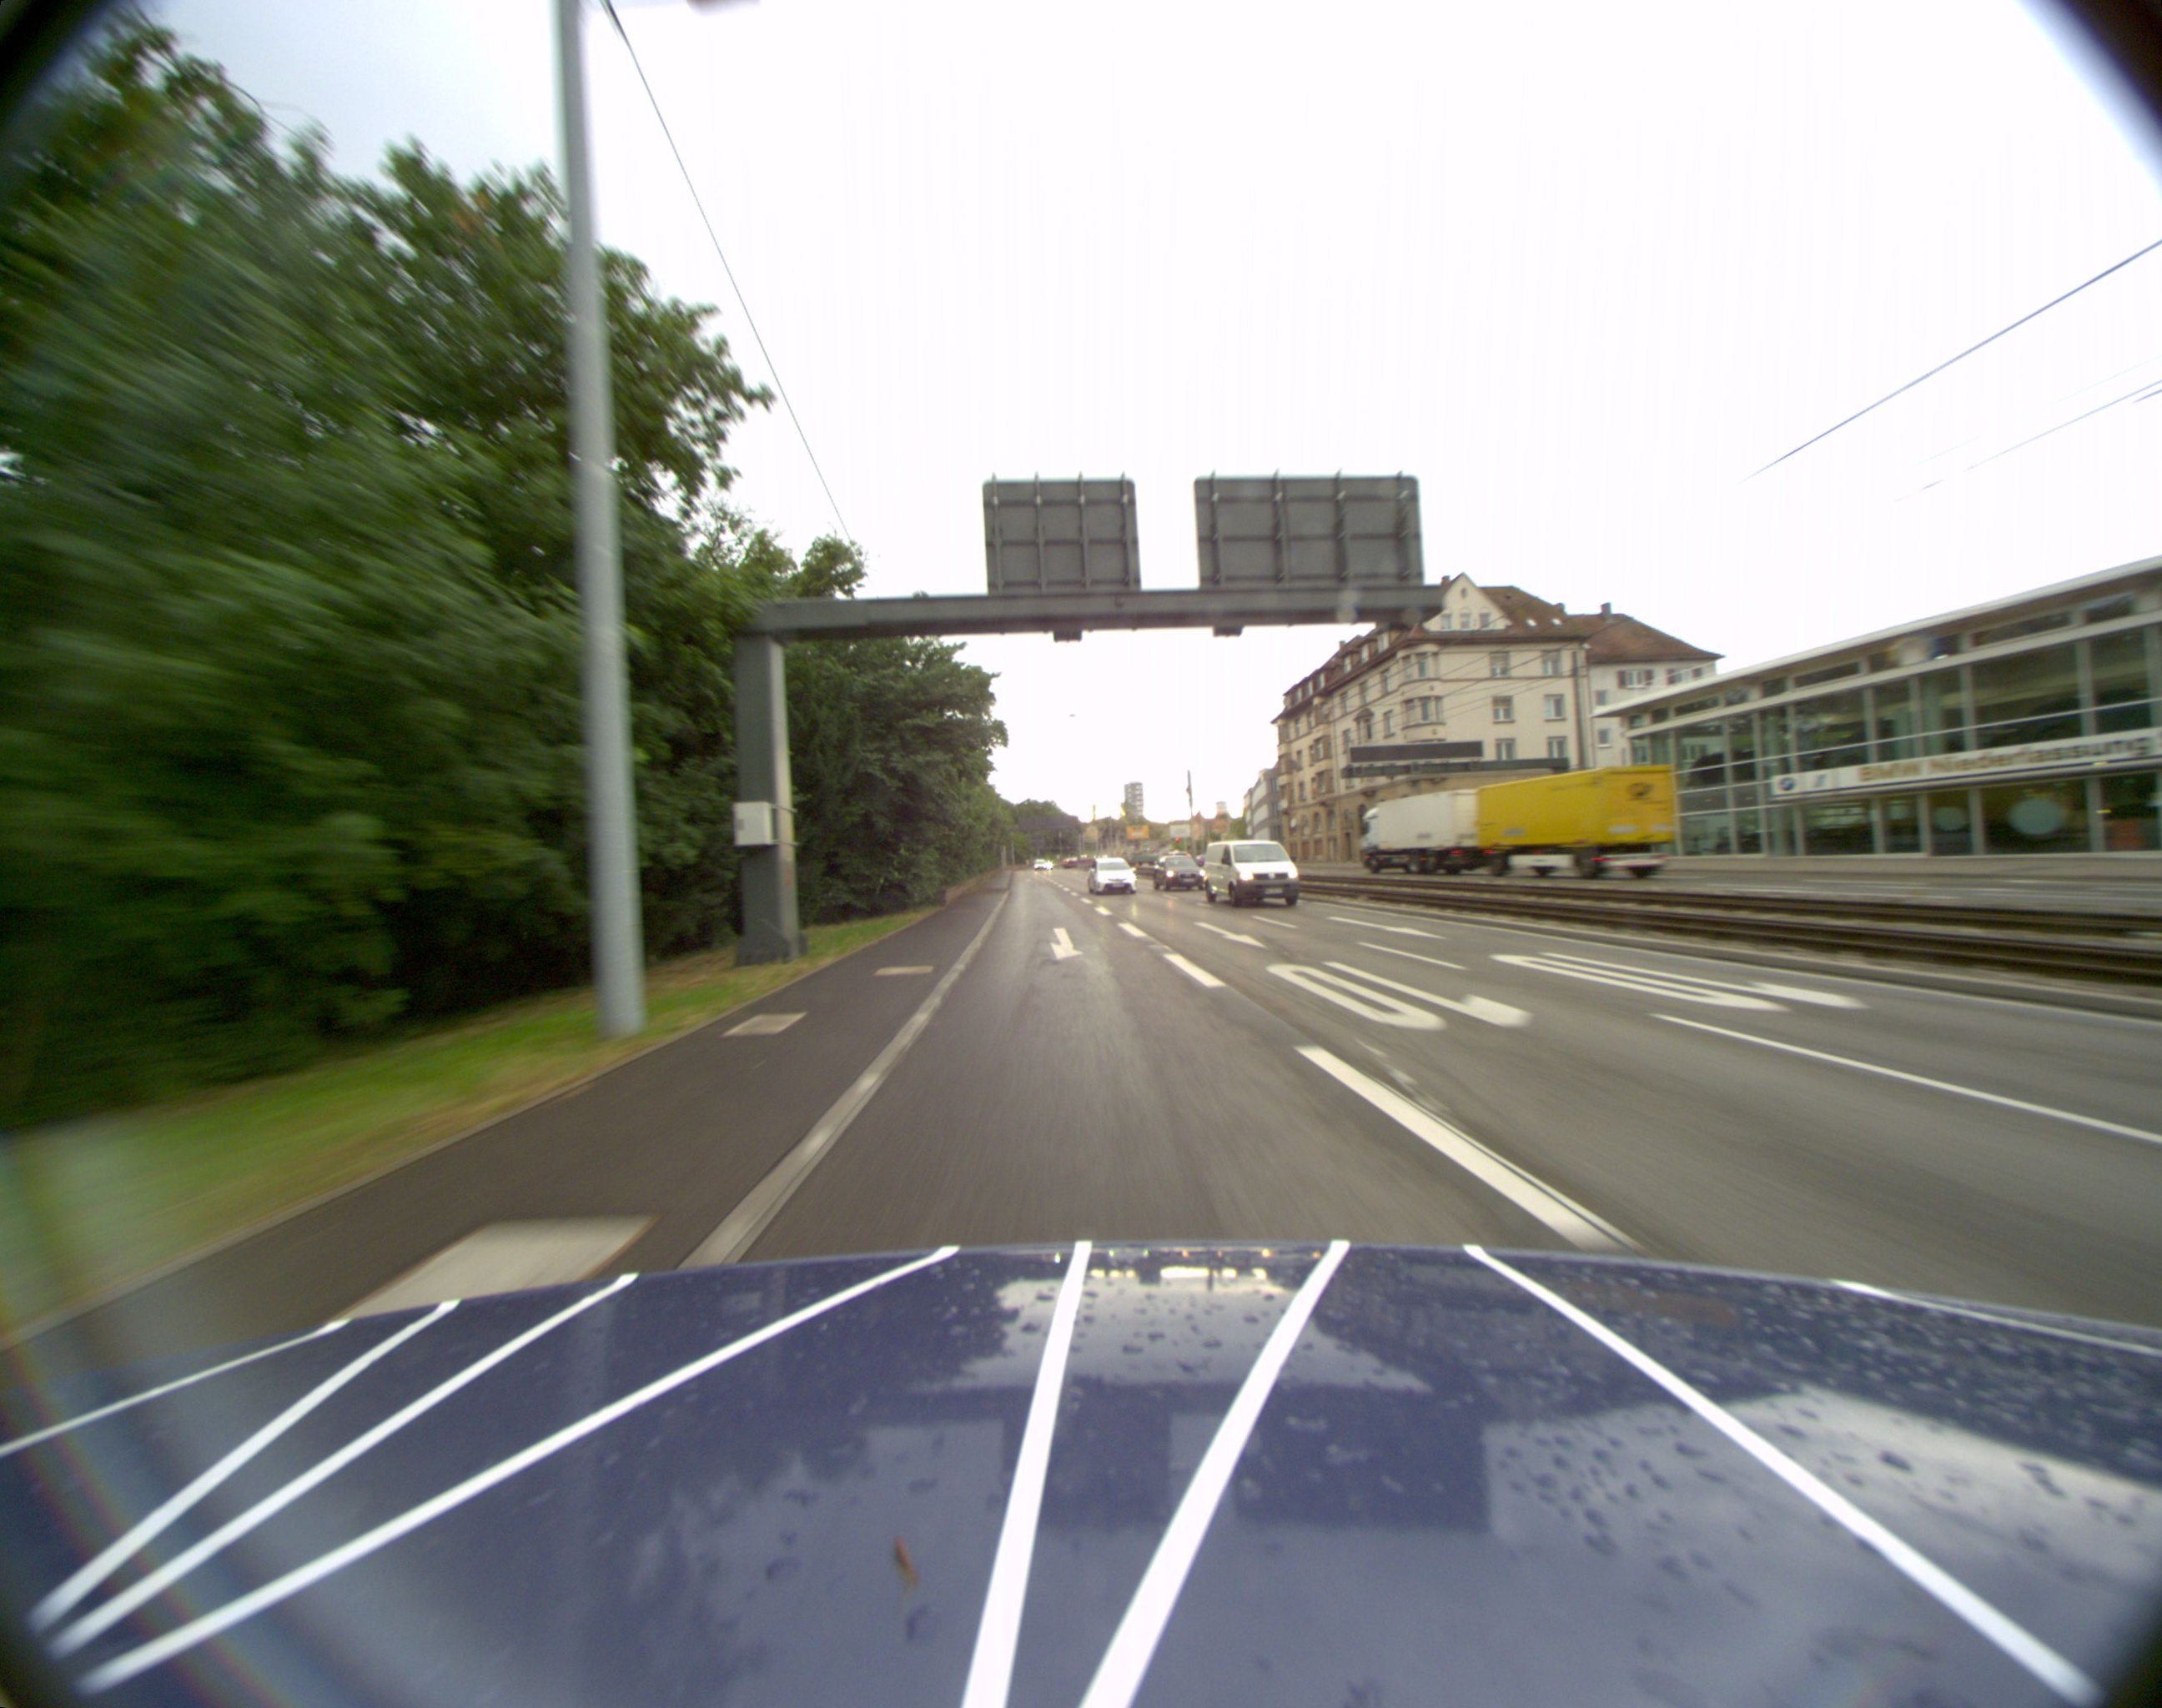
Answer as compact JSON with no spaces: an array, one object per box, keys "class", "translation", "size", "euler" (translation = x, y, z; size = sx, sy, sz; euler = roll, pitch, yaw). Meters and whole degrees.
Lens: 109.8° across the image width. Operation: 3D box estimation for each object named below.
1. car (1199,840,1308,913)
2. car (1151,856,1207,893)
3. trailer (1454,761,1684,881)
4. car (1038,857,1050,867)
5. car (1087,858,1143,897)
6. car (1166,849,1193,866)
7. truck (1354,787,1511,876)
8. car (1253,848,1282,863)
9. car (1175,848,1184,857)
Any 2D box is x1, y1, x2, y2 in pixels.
[{"class":"car","translation":[5.155,0.645,23.434],"size":[1.915,1.947,4.716],"euler":[-3,0,-4]},{"class":"car","translation":[4.421,0.894,34.756],"size":[1.709,1.564,3.895],"euler":[-2,0,-4]},{"class":"trailer","translation":[19.010,-1.120,30.633],"size":[2.691,4.028,9.079],"euler":[-2,0,-5]},{"class":"car","translation":[-6.102,1.329,124.253],"size":[1.710,1.585,3.998],"euler":[-3,0,-4]},{"class":"car","translation":[1.453,1.003,34.362],"size":[1.982,1.564,4.317],"euler":[-2,0,-4]},{"class":"car","translation":[11.416,0.411,88.639],"size":[1.999,1.863,5.191],"euler":[-3,0,-5]},{"class":"truck","translation":[18.109,-1.045,40.238],"size":[2.691,4.028,10.138],"euler":[-2,0,-5]},{"class":"car","translation":[18.684,0.149,76.280],"size":[1.685,1.396,3.850],"euler":[-3,0,-4]},{"class":"car","translation":[29.888,-0.435,230.536],"size":[2.336,2.453,7.030],"euler":[-2,0,8]}]
